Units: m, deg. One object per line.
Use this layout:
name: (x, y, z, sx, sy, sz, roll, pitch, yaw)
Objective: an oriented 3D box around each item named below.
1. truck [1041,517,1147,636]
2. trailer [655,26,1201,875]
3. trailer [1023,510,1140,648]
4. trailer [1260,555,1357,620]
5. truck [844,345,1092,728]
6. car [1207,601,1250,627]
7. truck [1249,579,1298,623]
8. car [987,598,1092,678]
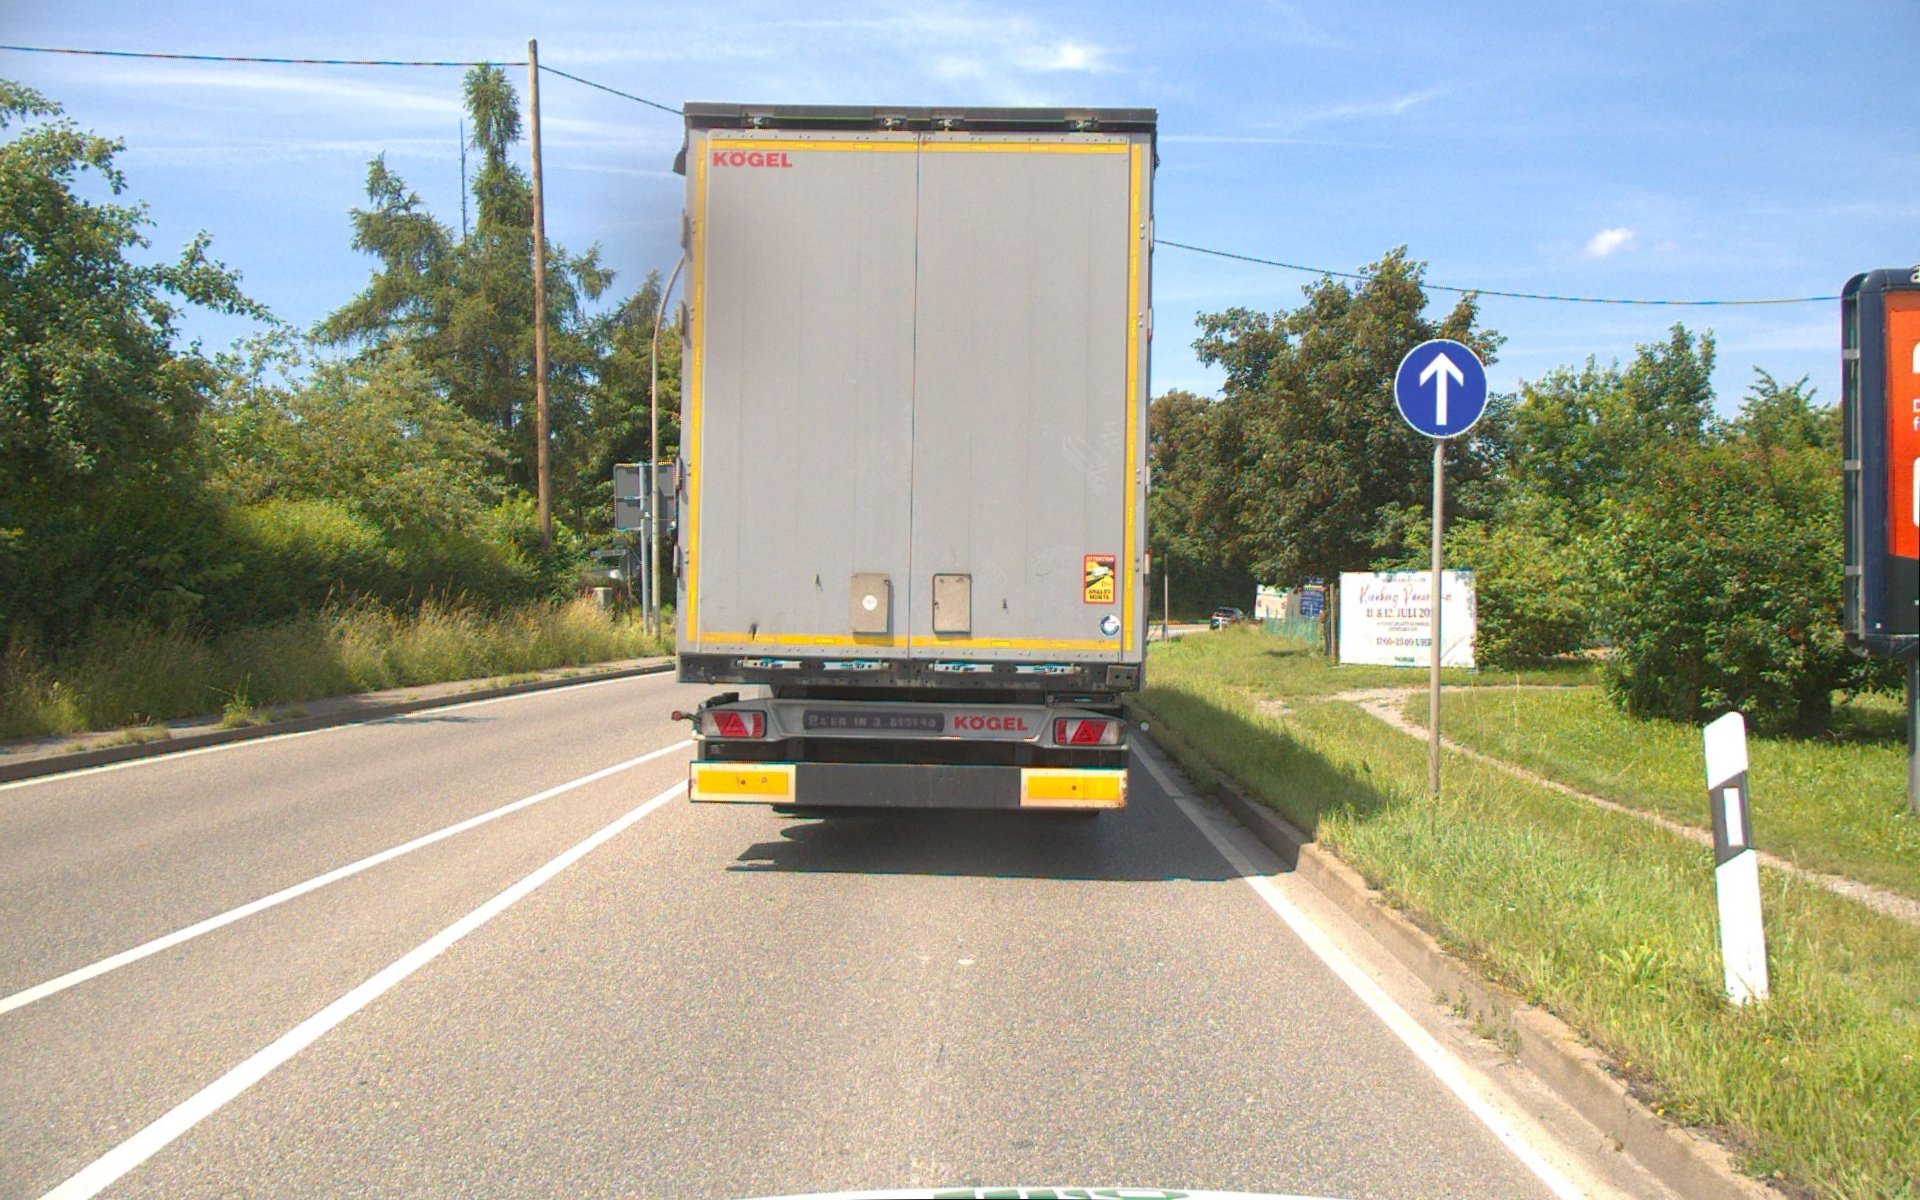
truck: (5.643, -0.933, 68.173, 3.853, 4.655, 7.158, 0, 0, 9)
trailer: (0.009, -0.837, 14.447, 2.729, 4.278, 12.114, 1, 1, 2)
trailer: (4.726, -0.778, 61.344, 3.808, 4.600, 12.723, 0, 1, 6)
trailer: (27.333, -1.026, 128.657, 5.072, 4.709, 15.898, 1, 1, 20)
truck: (0.324, -0.752, 21.453, 2.688, 4.238, 6.147, 1, 1, 5)
car: (16.491, 0.813, 101.508, 1.803, 1.512, 4.000, 1, 1, 21)
truck: (21.409, 0.019, 112.771, 2.371, 2.888, 5.412, 1, 1, 21)
car: (1.752, 0.755, 35.080, 1.951, 1.557, 4.003, 1, 0, 6)
